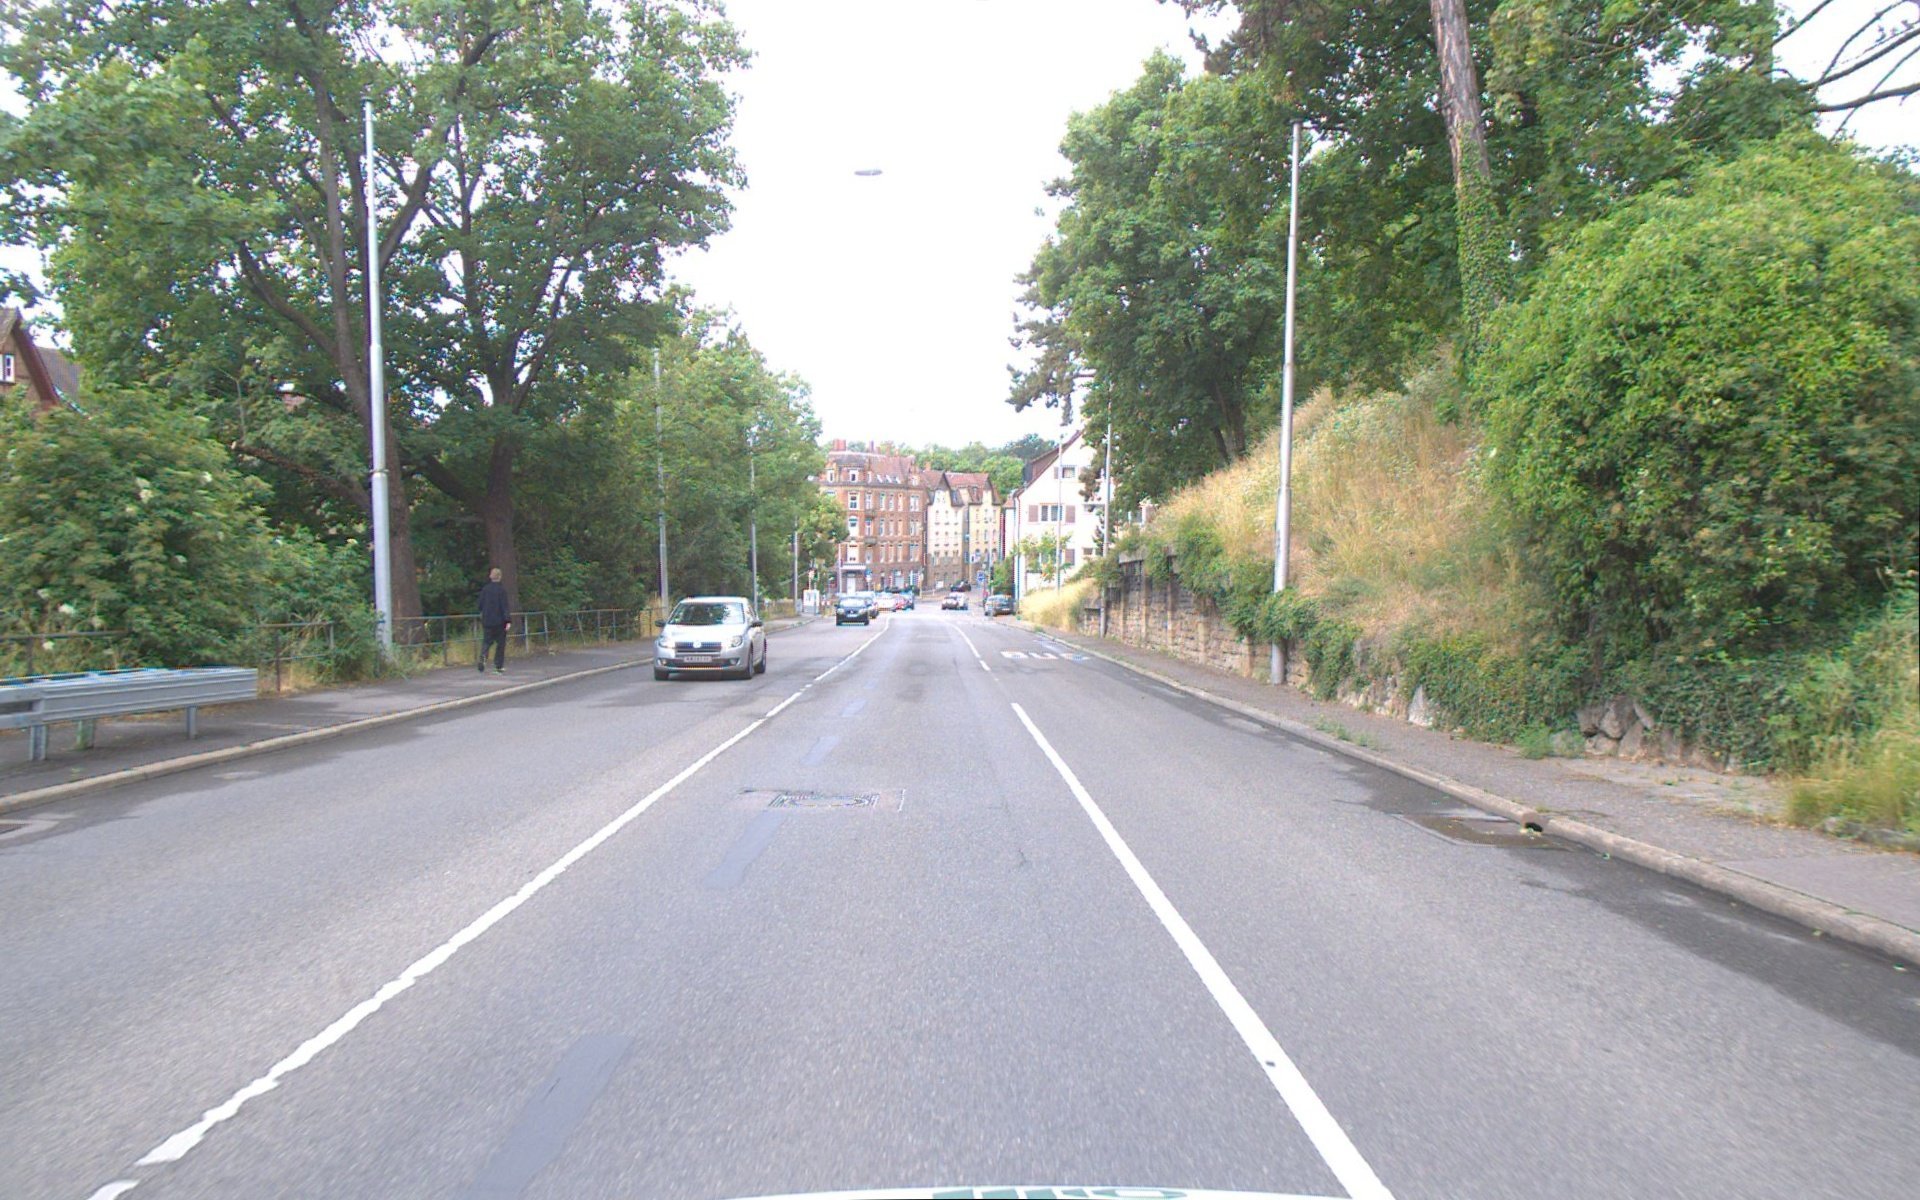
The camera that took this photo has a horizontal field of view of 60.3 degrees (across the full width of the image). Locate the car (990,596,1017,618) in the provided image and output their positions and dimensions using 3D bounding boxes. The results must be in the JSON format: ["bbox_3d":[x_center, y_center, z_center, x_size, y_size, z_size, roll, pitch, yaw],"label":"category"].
[{"bbox_3d":[3.145,0.534,120.322,1.648,1.476,3.999,-3,-1,-1],"label":"car"}]

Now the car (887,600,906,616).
[{"bbox_3d":[-6.113,0.784,159.069,1.748,1.485,4.427,-1,0,-2],"label":"car"}]

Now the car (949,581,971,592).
[{"bbox_3d":[0.020,-2.046,245.345,1.941,1.602,4.376,-2,0,21],"label":"car"}]

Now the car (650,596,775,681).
[{"bbox_3d":[-4.546,0.668,30.909,1.758,1.452,4.142,-1,0,-1],"label":"car"}]

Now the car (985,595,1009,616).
[{"bbox_3d":[2.911,0.426,129.182,1.757,1.476,4.720,-3,0,2],"label":"car"}]

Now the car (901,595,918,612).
[{"bbox_3d":[-5.369,0.362,177.348,1.747,1.776,4.427,-1,0,-1],"label":"car"}]

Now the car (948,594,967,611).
[{"bbox_3d":[-0.219,0.311,187.463,1.869,1.917,4.001,2,0,3],"label":"car"}]

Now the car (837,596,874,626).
[{"bbox_3d":[-5.233,0.533,83.273,1.635,1.472,3.687,0,0,-1],"label":"car"}]

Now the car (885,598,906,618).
[{"bbox_3d":[-5.506,0.691,141.376,1.748,1.602,4.279,-1,0,-2],"label":"car"}]

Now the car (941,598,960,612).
[{"bbox_3d":[-1.071,0.504,180.654,1.778,1.455,4.002,2,0,3],"label":"car"}]

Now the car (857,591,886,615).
[{"bbox_3d":[-6.503,0.231,122.473,1.955,1.712,4.662,-1,0,-1],"label":"car"}]

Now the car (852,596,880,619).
[{"bbox_3d":[-6.096,0.492,107.340,1.678,1.452,4.137,0,0,-2],"label":"car"}]

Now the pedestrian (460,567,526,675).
[{"bbox_3d":[-8.158,0.362,28.945,0.773,1.805,1.208,3,0,-4],"label":"pedestrian"}]
